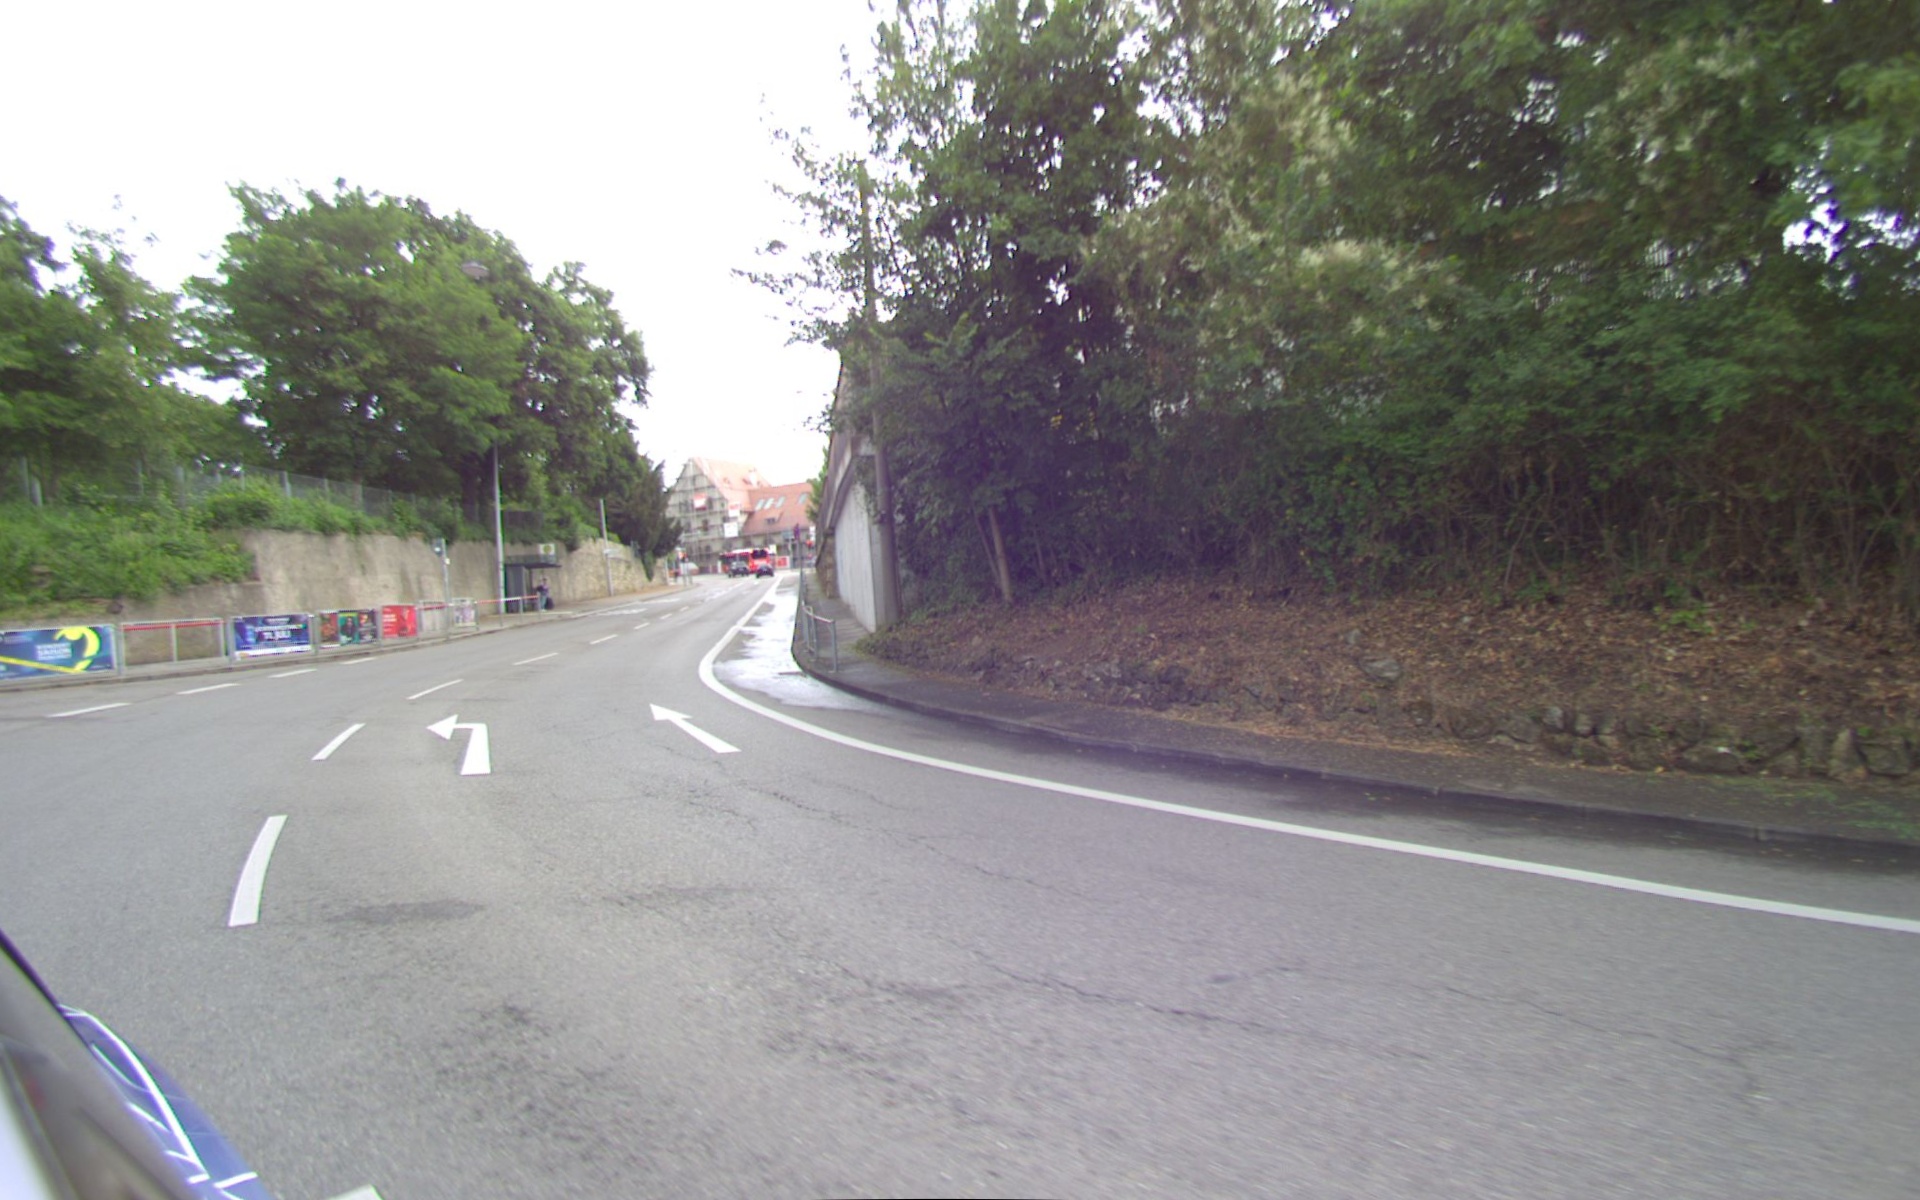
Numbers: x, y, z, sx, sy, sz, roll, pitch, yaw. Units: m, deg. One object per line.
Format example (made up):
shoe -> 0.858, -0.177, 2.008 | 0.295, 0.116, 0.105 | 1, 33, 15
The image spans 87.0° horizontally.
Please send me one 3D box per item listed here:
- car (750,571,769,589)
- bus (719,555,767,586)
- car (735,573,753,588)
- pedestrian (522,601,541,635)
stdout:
car -> -20.710, -2.099, 104.626 | 1.827, 1.728, 3.889 | -2, 2, -9
bus -> -27.975, -3.745, 130.196 | 2.864, 3.664, 9.511 | -3, 2, -32
car -> -25.504, -2.295, 119.768 | 1.827, 1.728, 3.889 | -2, 2, -9
pedestrian -> -21.152, 0.873, 49.952 | 0.706, 1.652, 0.743 | -2, 2, -17
